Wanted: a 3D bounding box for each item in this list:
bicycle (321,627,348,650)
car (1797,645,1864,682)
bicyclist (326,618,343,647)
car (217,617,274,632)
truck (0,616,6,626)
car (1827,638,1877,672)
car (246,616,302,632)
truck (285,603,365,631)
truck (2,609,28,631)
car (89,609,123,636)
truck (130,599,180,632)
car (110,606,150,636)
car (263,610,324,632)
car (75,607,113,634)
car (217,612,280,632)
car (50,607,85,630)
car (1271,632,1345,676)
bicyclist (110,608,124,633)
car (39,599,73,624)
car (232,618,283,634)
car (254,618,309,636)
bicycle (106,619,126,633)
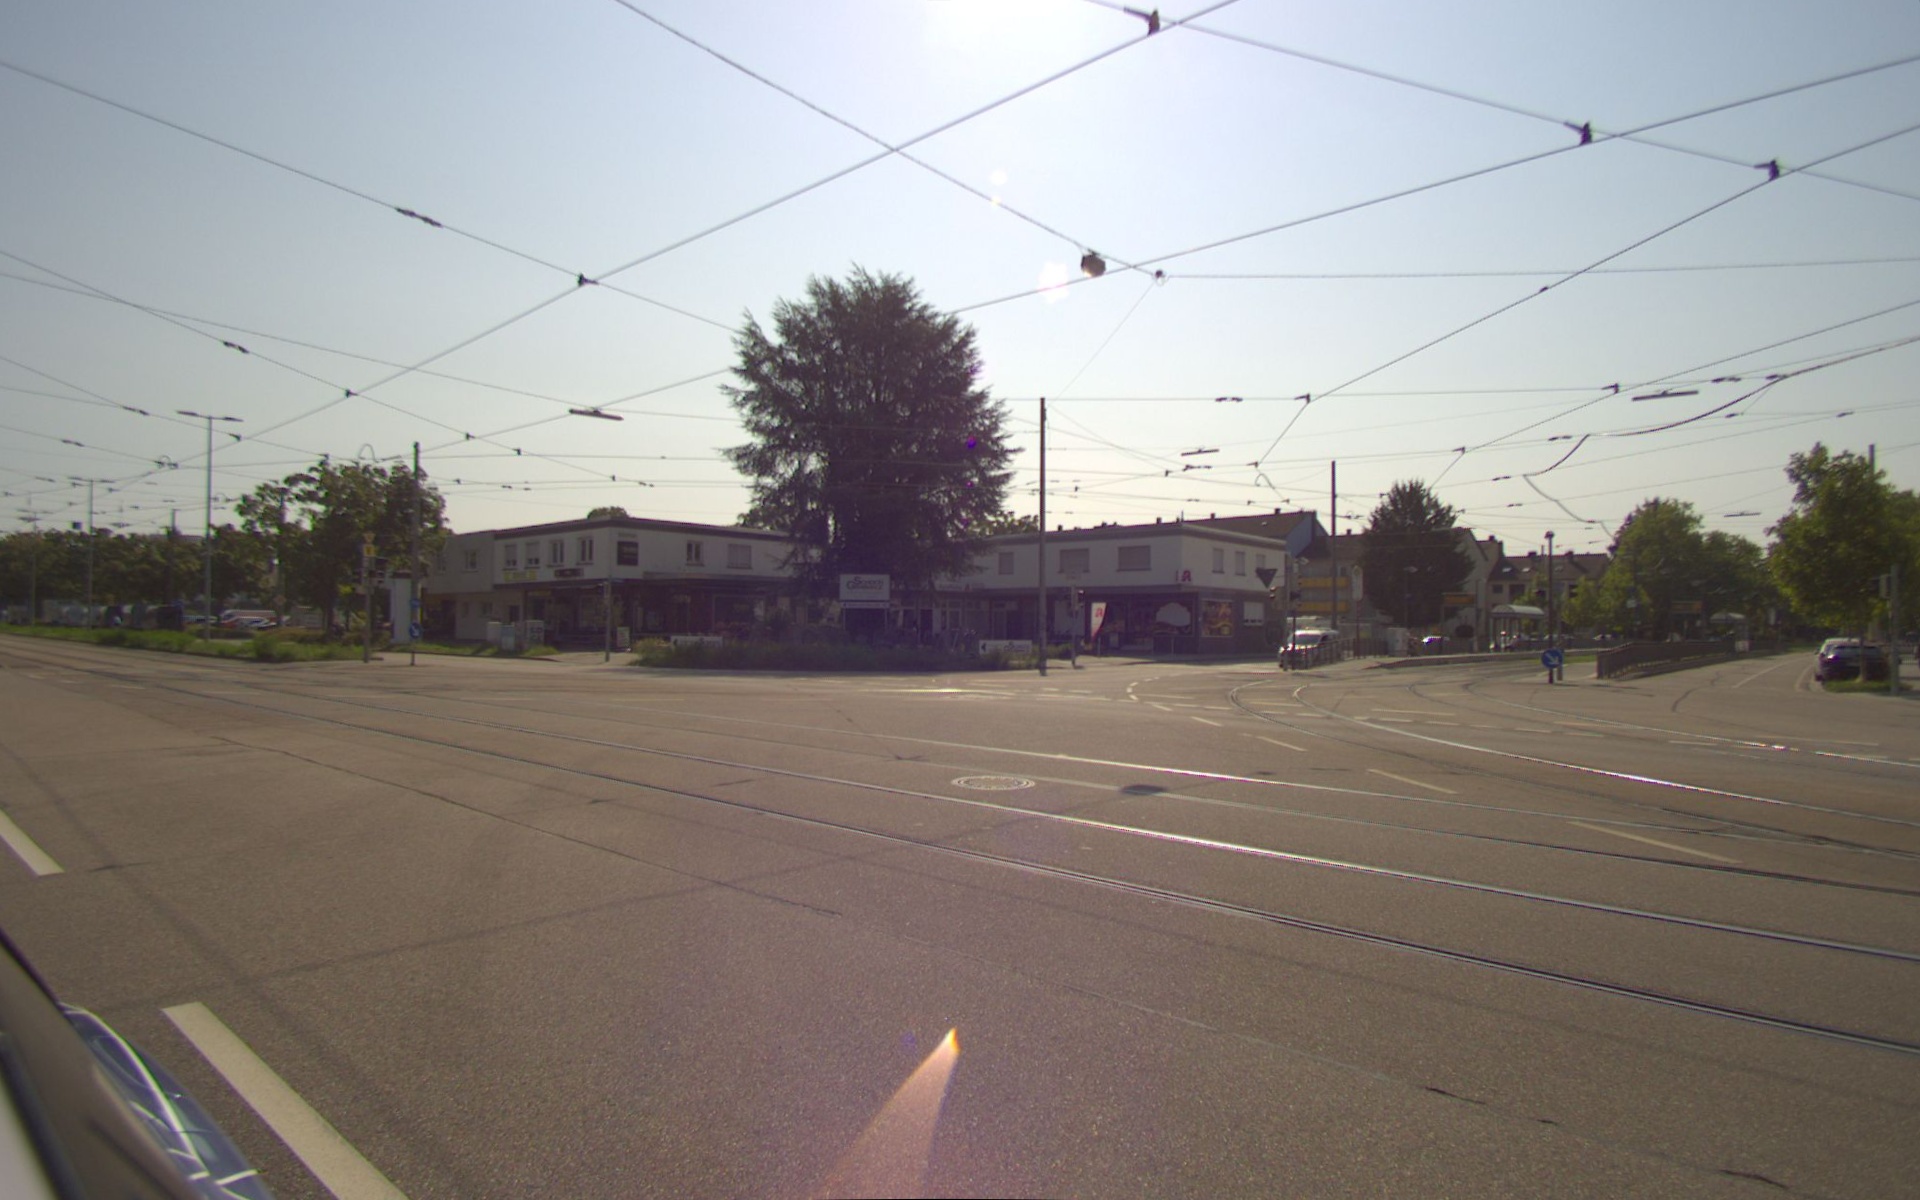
[{"bbox_3d":[-33.467,2.090,54.109,2.206,1.189,0.569,-3,-5,41],"label":"bicycle"},{"bbox_3d":[32.992,2.421,38.440,1.671,1.309,4.070,0,-4,38],"label":"car"},{"bbox_3d":[-33.460,1.750,54.124,0.490,1.534,0.562,-1,-4,43],"label":"bicyclist"},{"bbox_3d":[-74.833,2.581,106.070,1.632,1.461,4.606,0,-4,40],"label":"car"},{"bbox_3d":[-161.593,3.548,169.932,3.654,1.687,1.669,-1,-4,42],"label":"truck"},{"bbox_3d":[41.770,2.584,47.444,1.672,1.492,3.865,-1,-4,40],"label":"car"},{"bbox_3d":[-66.706,2.360,98.433,1.621,1.474,4.121,-1,-3,35],"label":"car"},{"bbox_3d":[-55.524,1.504,88.617,2.258,2.189,5.433,-1,-4,40],"label":"truck"},{"bbox_3d":[-139.306,2.936,149.151,8.790,3.145,2.247,-1,-4,44],"label":"truck"},{"bbox_3d":[-83.271,2.206,98.661,5.909,2.606,1.802,-1,-2,43],"label":"car"},{"bbox_3d":[-66.668,1.259,83.785,5.736,2.567,2.059,-1,-4,41],"label":"truck"},{"bbox_3d":[-74.064,1.861,90.296,6.468,2.606,1.966,-1,-1,44],"label":"car"},{"bbox_3d":[-61.563,1.968,93.563,1.632,1.798,4.353,-1,-4,40],"label":"car"},{"bbox_3d":[-89.197,2.071,104.234,5.629,2.606,2.109,-1,-4,42],"label":"car"},{"bbox_3d":[-76.545,2.342,108.954,2.051,1.940,5.132,0,-4,40],"label":"car"},{"bbox_3d":[-100.228,2.071,113.628,4.829,2.477,2.121,0,-4,40],"label":"car"},{"bbox_3d":[16.306,2.476,47.302,1.823,1.901,3.969,-1,-2,43],"label":"car"},{"bbox_3d":[-71.094,1.694,85.317,0.773,2.080,0.632,0,-4,36],"label":"bicyclist"},{"bbox_3d":[-107.429,1.380,120.196,7.229,2.826,2.102,-1,-4,42],"label":"car"},{"bbox_3d":[-71.066,2.632,102.407,1.632,1.461,3.883,0,-4,40],"label":"car"},{"bbox_3d":[-63.684,2.559,95.024,1.632,1.530,3.883,0,-4,40],"label":"car"},{"bbox_3d":[-71.232,2.169,85.384,2.260,1.099,0.709,0,-3,36],"label":"bicycle"}]
